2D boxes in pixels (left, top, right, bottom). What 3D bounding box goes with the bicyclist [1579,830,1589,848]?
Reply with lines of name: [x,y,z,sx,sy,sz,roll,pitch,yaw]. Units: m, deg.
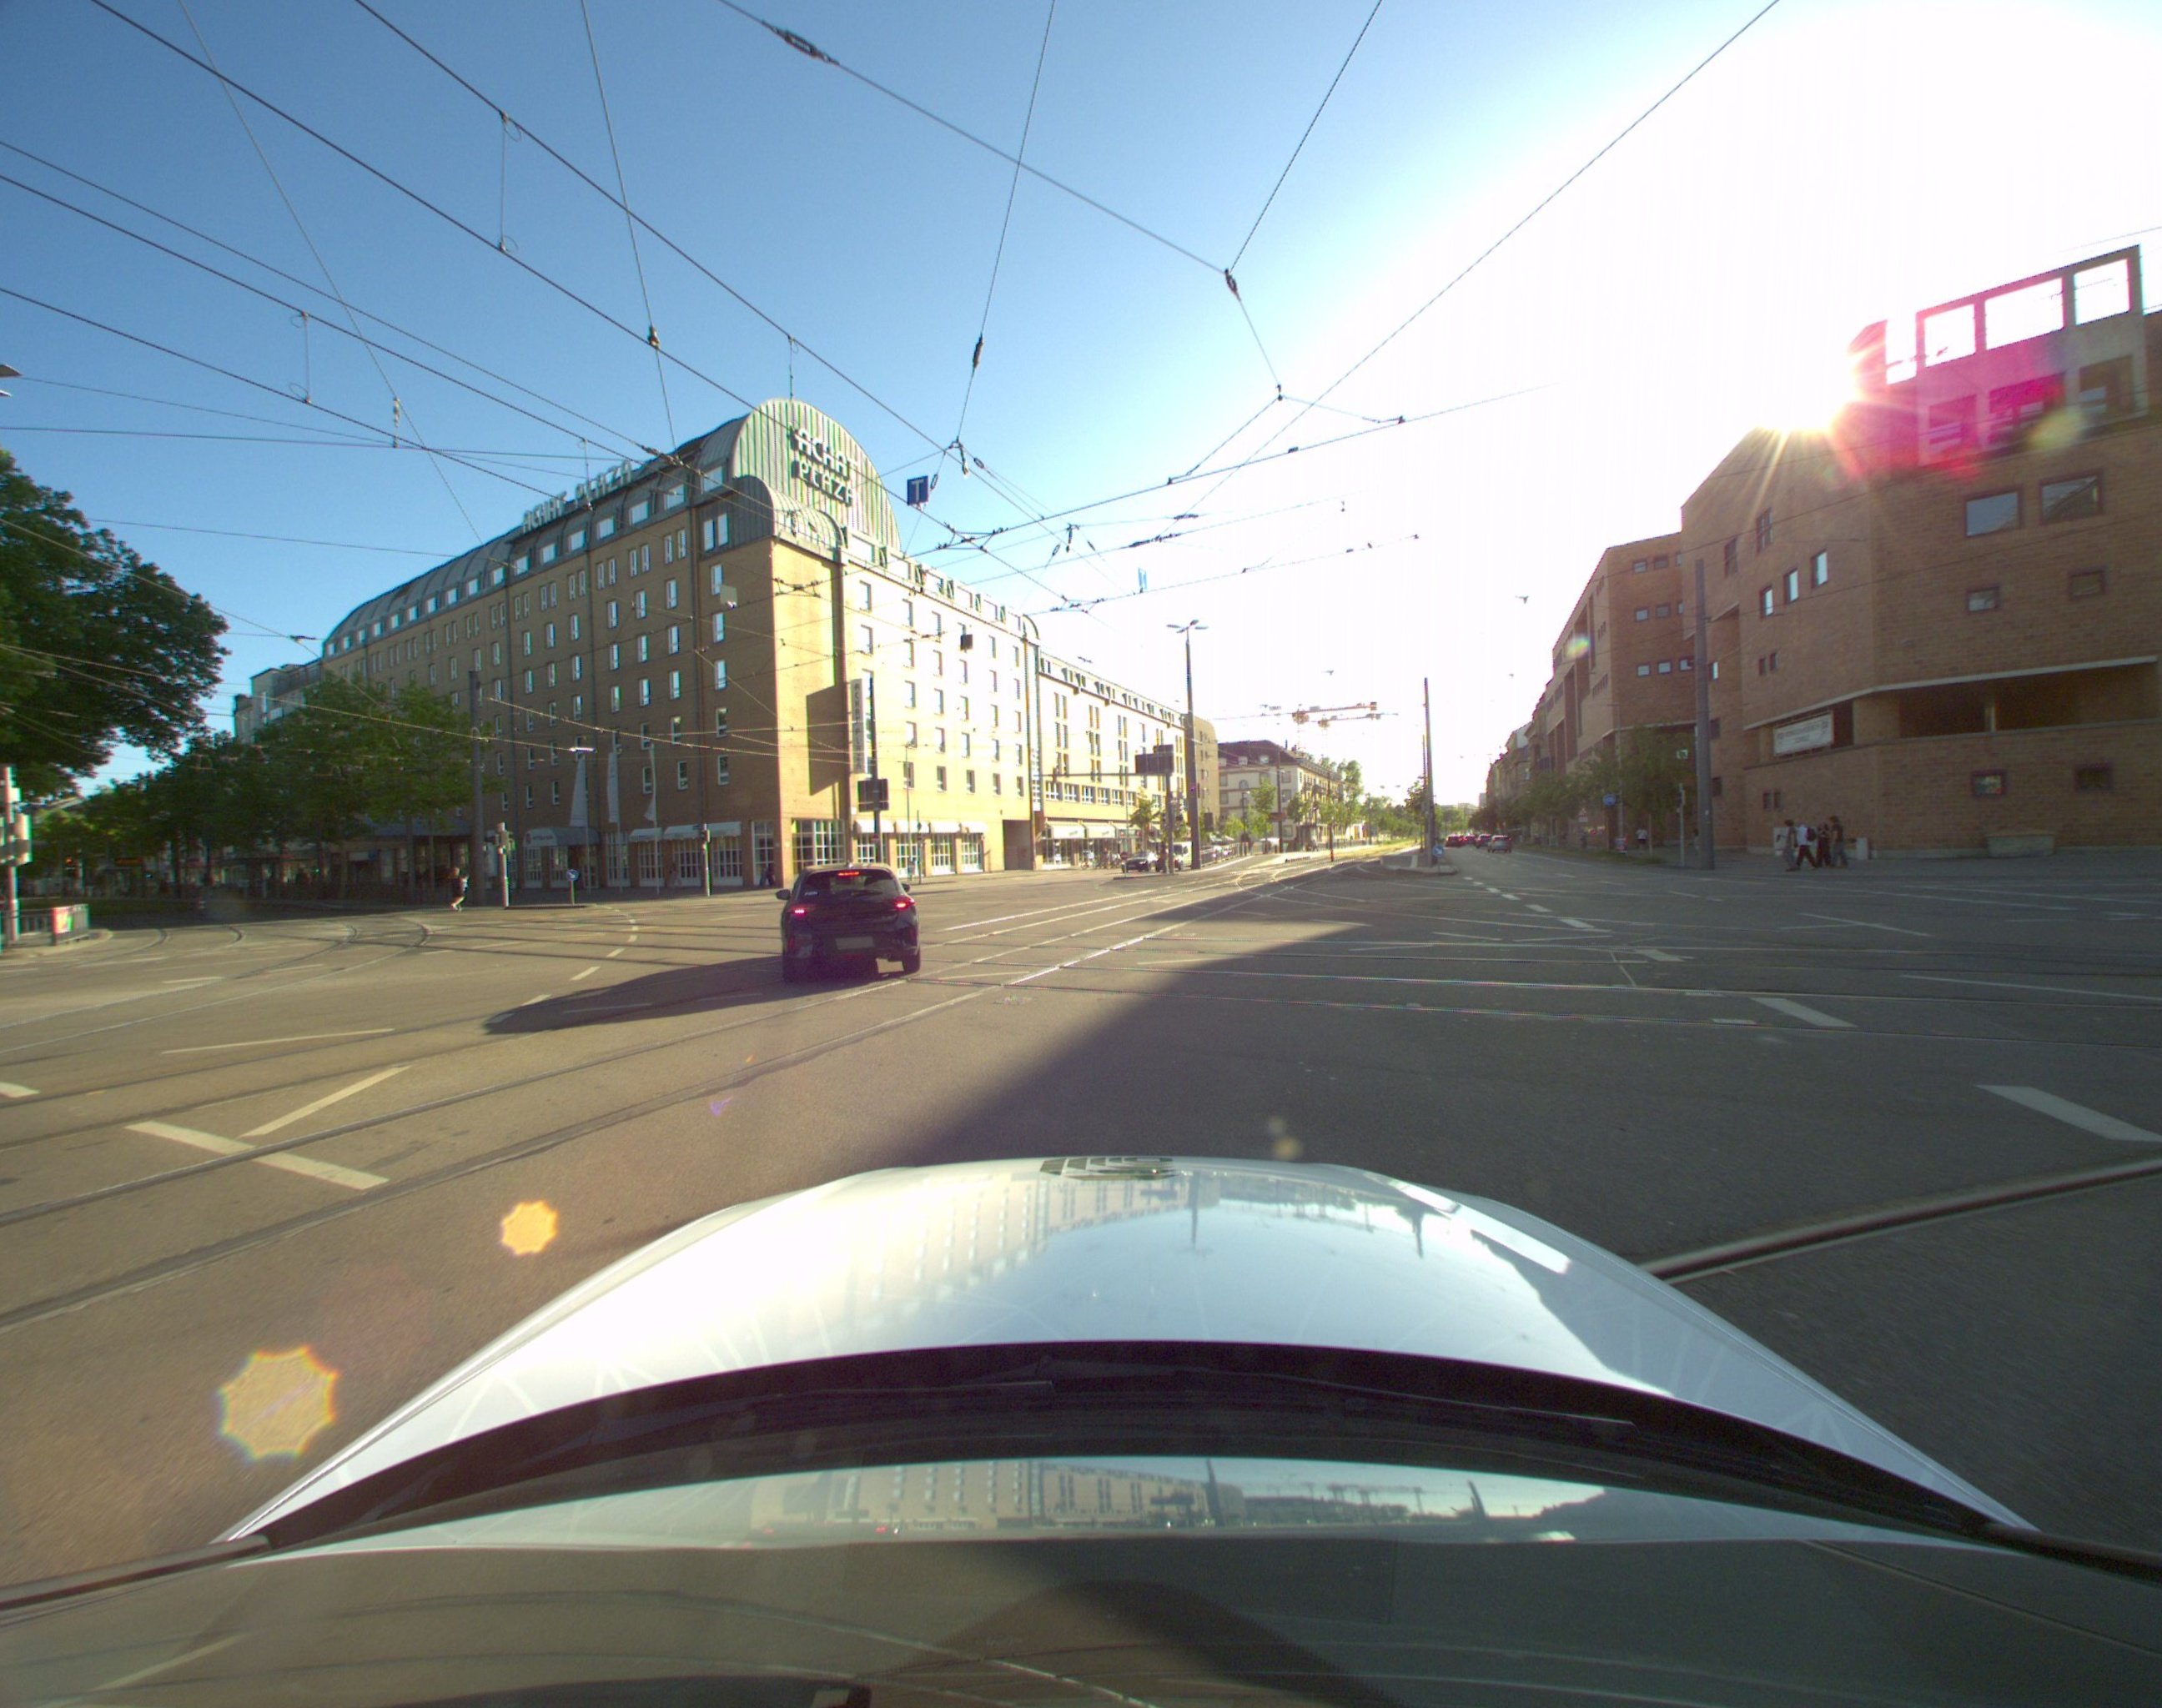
bicyclist: [40.287,-1.196,65.233,0.640,1.339,0.656,-2,-1,26]

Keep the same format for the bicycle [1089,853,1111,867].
bicycle: [1.518,0.475,63.659,0.802,0.991,2.523,-3,-1,24]

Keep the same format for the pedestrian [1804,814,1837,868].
pedestrian: [25.255,-0.436,27.824,0.567,1.786,0.551,-3,-1,17]

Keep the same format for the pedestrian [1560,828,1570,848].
pedestrian: [42.766,-1.404,71.923,0.634,1.786,0.692,-3,-1,26]

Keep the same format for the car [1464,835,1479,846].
car: [53.721,-1.823,111.992,1.705,1.453,3.719,-3,-1,25]

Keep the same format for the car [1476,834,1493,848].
car: [45.254,-1.432,91.395,1.656,1.453,3.719,-1,1,25]

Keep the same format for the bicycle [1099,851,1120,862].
bicycle: [2.580,0.201,74.002,2.014,0.921,0.486,-3,-1,35]

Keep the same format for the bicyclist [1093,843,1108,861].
bicyclist: [1.497,-0.159,63.669,0.802,1.377,0.931,-3,-1,24]

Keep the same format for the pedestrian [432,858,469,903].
pedestrian: [-24.377,1.012,31.497,0.707,1.680,0.836,-3,1,27]

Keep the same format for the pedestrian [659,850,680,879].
pedestrian: [-23.862,0.592,47.244,0.744,1.666,0.745,-2,0,27]

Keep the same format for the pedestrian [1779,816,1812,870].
pedestrian: [23.877,-0.360,27.218,0.567,1.786,0.551,-3,-1,17]

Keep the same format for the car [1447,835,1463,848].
car: [45.652,-1.498,99.367,1.705,1.453,3.719,-1,1,25]

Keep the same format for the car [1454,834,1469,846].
car: [50.089,-1.788,107.091,1.705,1.453,3.719,-3,-1,25]

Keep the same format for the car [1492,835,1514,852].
car: [37.219,-0.926,71.873,1.545,1.456,3.452,-2,0,26]

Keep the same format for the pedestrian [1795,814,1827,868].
pedestrian: [24.603,-0.436,27.456,0.567,1.786,0.551,-3,-1,17]

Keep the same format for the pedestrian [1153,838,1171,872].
pedestrian: [4.240,0.058,42.779,0.714,1.727,0.598,-2,-1,26]

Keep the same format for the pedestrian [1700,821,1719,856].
pedestrian: [33.645,-0.828,43.598,0.634,1.786,0.692,-3,-1,28]

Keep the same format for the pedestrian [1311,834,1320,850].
pedestrian: [24.362,-1.255,84.623,0.854,1.670,0.740,-1,1,15]

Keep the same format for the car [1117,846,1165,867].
car: [4.072,0.154,54.904,1.822,1.268,4.253,-4,-1,23]

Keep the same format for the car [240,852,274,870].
car: [-82.761,0.711,81.788,3.642,1.652,1.688,-2,-1,34]

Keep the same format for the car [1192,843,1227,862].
car: [10.987,-0.105,69.339,1.822,1.448,4.322,-4,-1,24]

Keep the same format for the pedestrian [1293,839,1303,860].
pedestrian: [20.548,-0.419,77.150,0.854,1.886,0.740,-1,1,15]

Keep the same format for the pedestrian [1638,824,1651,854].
pedestrian: [34.477,-0.926,49.788,0.542,1.786,0.577,-2,2,28]

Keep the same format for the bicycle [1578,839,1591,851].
bicycle: [40.282,-0.740,65.193,0.642,0.904,2.359,-2,-1,26]

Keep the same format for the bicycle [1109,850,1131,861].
bicycle: [3.571,0.166,74.952,2.014,0.921,0.486,-3,-1,35]

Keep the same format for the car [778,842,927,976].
car: [-3.336,0.610,11.431,1.678,1.501,3.665,-2,1,-21]

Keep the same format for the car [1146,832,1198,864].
car: [5.789,-0.357,51.644,1.822,1.836,4.132,-4,-1,27]

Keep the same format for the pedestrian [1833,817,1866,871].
pedestrian: [25.812,-0.323,27.356,0.567,1.786,0.551,-3,-1,17]

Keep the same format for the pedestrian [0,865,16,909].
pedestrian: [-44.764,1.376,33.744,0.735,1.829,0.640,-2,-1,28]

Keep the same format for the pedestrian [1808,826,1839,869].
pedestrian: [26.031,-0.231,28.558,0.544,1.477,0.574,-2,0,7]

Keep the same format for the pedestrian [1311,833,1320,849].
pedestrian: [24.537,-1.353,85.273,0.854,1.670,0.788,-1,1,15]

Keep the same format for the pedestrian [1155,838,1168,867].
pedestrian: [4.467,-0.089,44.993,0.576,1.577,0.649,-2,-1,12]

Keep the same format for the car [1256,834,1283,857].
car: [27.141,-1.275,116.933,2.356,2.998,8.517,-2,0,22]

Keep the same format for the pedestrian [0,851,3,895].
pedestrian: [-45.667,0.808,33.930,0.593,1.829,0.738,-1,-1,-25]

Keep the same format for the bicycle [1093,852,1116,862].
bicycle: [2.094,0.261,72.796,2.014,0.845,0.486,-3,-1,35]

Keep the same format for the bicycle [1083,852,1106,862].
bicycle: [1.197,0.282,71.533,2.014,0.845,0.486,-3,-1,35]

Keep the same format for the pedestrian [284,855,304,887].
pedestrian: [-42.807,0.909,44.304,0.480,1.680,0.610,-2,1,33]

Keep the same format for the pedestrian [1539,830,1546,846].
pedestrian: [54.148,-1.902,95.622,0.634,1.786,0.692,-3,-1,28]
